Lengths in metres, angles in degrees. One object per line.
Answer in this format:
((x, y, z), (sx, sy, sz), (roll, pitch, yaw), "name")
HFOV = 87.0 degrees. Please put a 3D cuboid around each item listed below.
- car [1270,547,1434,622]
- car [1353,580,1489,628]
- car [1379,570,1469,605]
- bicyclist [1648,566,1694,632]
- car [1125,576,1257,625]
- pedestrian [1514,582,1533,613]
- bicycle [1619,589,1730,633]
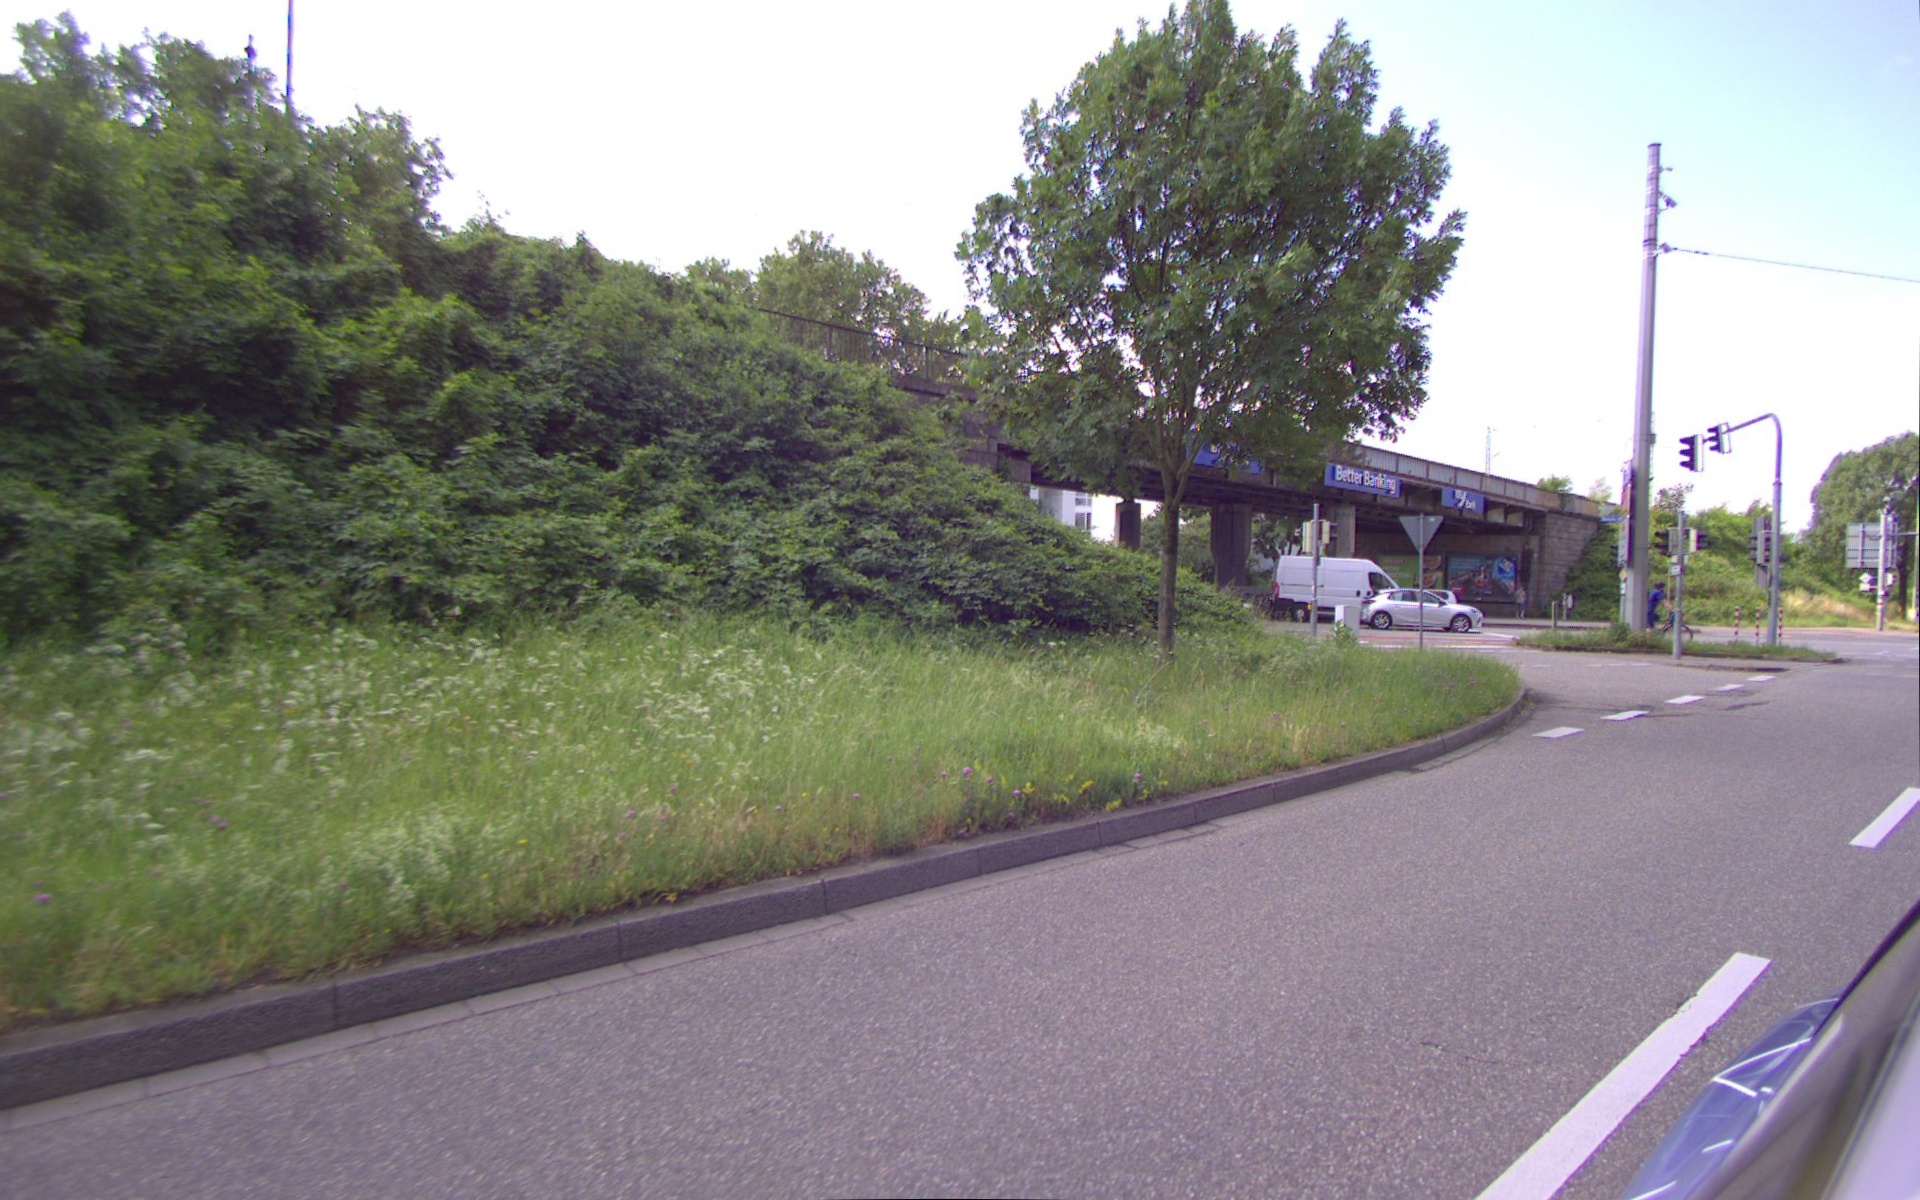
((14.782, -0.608, 38.544), (5.546, 2.555, 2.257), (-1, 5, 16), "car")
((15.744, 0.105, 34.762), (3.939, 1.494, 1.702), (1, 2, 13), "car")
((22.309, -0.608, 48.773), (3.547, 1.504, 1.732), (2, 1, 12), "car")
((19.174, -0.042, 27.322), (0.814, 1.698, 0.840), (0, 4, 21), "bicyclist")
((8.366, -0.003, 37.028), (4.588, 1.602, 1.766), (-2, 2, 10), "car")
((30.958, -0.141, 55.629), (0.597, 1.670, 0.694), (-3, 3, -21), "pedestrian")
((19.233, 0.281, 27.295), (2.291, 1.106, 0.840), (0, 4, 22), "bicycle")
